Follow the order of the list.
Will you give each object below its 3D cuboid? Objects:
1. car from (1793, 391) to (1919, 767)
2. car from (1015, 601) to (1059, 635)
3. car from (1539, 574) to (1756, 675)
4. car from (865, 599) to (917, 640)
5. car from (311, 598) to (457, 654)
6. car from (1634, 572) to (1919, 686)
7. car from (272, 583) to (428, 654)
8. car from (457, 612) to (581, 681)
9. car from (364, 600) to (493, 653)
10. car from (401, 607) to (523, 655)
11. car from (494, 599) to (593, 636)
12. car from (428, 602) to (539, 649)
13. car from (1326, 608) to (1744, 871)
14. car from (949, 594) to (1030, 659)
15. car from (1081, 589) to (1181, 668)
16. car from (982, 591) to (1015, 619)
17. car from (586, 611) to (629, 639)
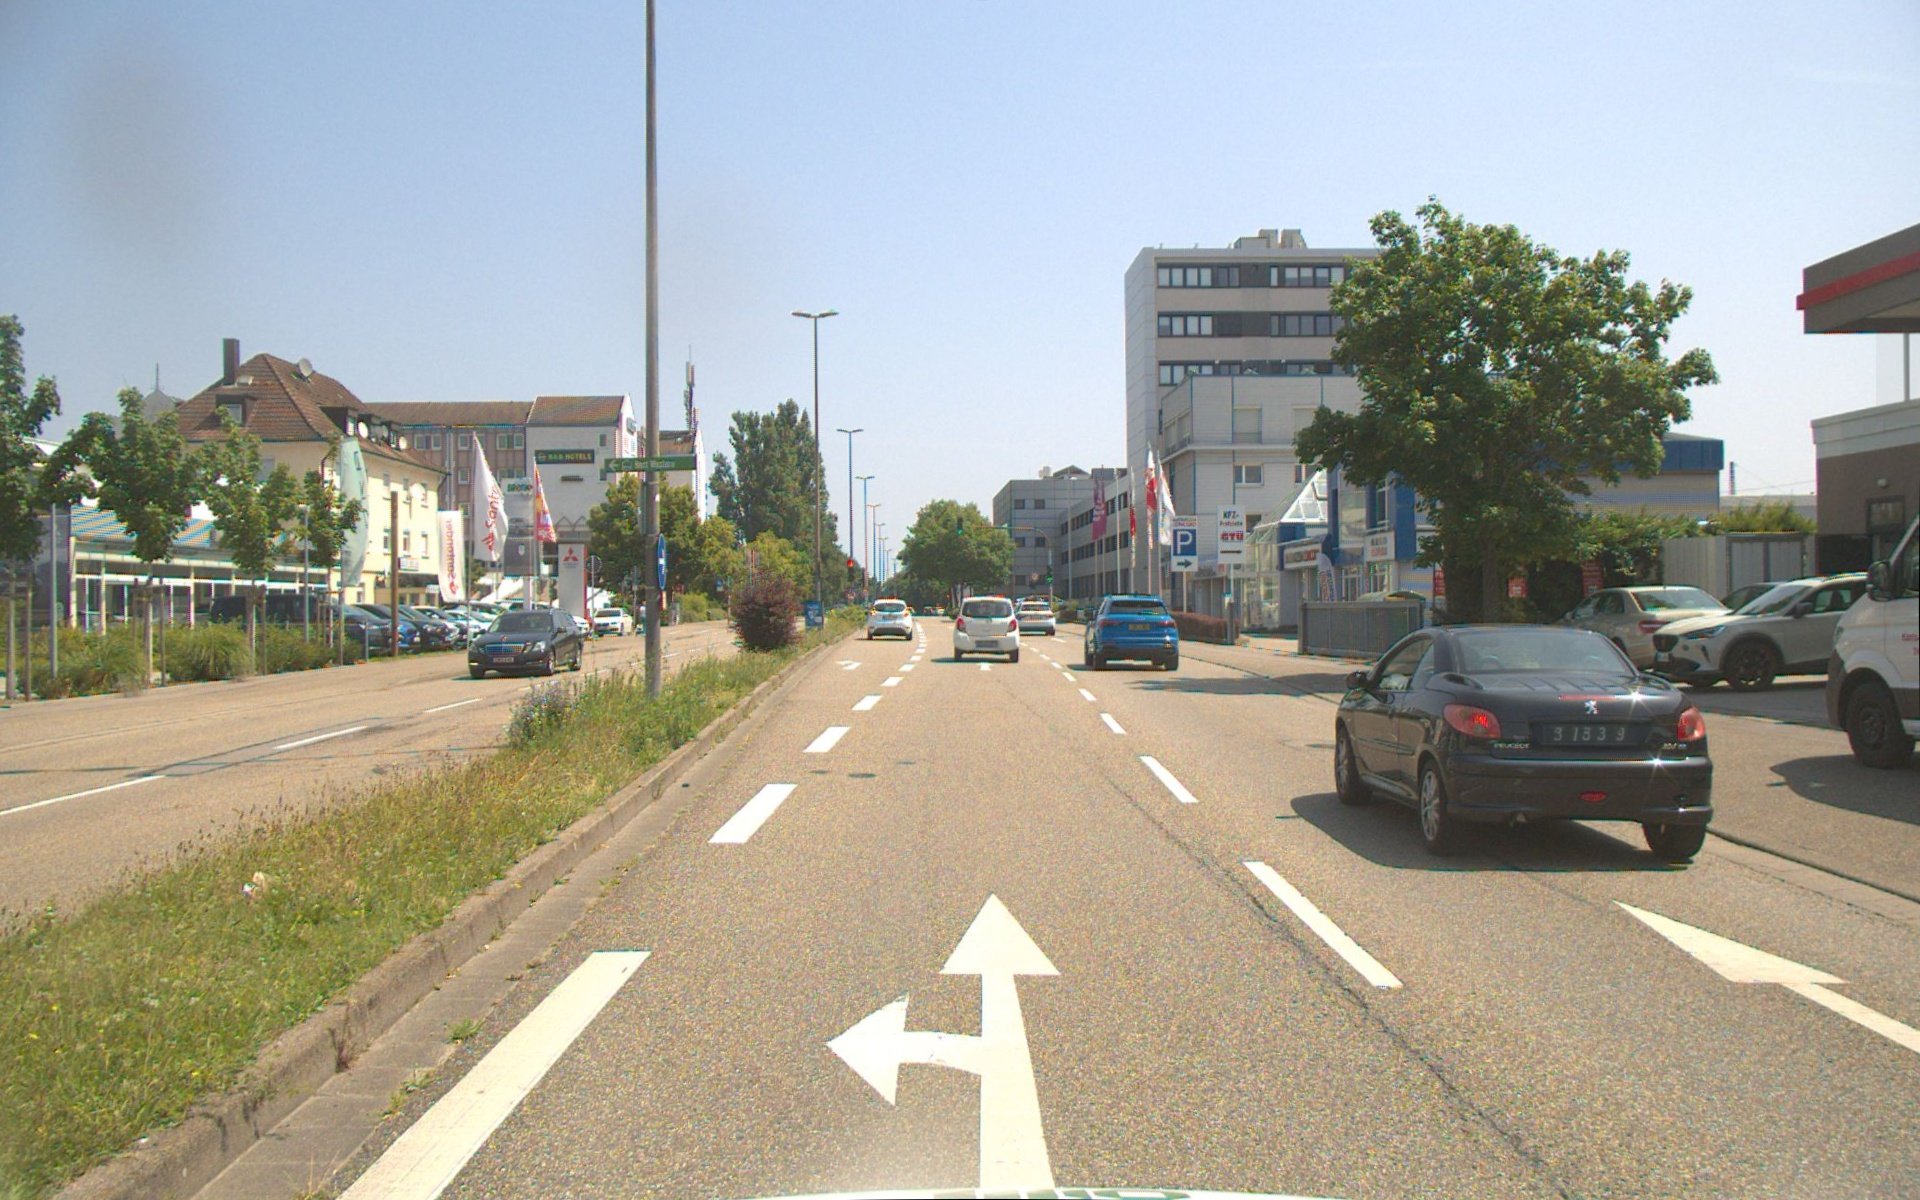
[{"bbox_3d":[8.480,-0.209,10.743,2.090,2.889,7.306,-3,0,-2],"label":"car"},{"bbox_3d":[3.284,0.745,70.947,1.633,1.424,3.792,0,0,-1],"label":"car"},{"bbox_3d":[11.223,0.447,27.309,1.714,1.538,3.996,0,-2,-4],"label":"car"},{"bbox_3d":[-2.536,0.758,61.527,1.793,1.475,3.999,0,-2,-1],"label":"car"},{"bbox_3d":[-18.040,0.845,51.947,3.909,1.694,1.886,0,-2,-5],"label":"car"},{"bbox_3d":[11.811,0.427,23.347,3.903,1.538,1.747,0,-2,5],"label":"car"},{"bbox_3d":[-18.134,0.568,49.329,3.909,2.049,1.998,0,-2,-5],"label":"car"},{"bbox_3d":[-10.125,1.027,38.265,1.859,1.412,4.065,-2,0,-2],"label":"car"},{"bbox_3d":[-18.559,0.946,57.896,3.909,1.759,1.935,0,-2,-5],"label":"car"},{"bbox_3d":[-18.272,1.171,60.861,3.909,1.714,1.998,0,-2,-5],"label":"car"},{"bbox_3d":[-18.694,0.804,74.346,3.905,1.579,1.865,0,-2,0],"label":"car"},{"bbox_3d":[-18.910,1.035,65.602,3.941,1.761,1.890,1,-3,-28],"label":"car"},{"bbox_3d":[3.640,0.792,11.134,1.567,1.450,3.661,0,0,0],"label":"car"},{"bbox_3d":[0.680,0.640,40.489,1.678,1.537,3.244,0,-1,-4],"label":"car"},{"bbox_3d":[3.737,0.584,36.814,1.873,1.625,4.396,1,1,1],"label":"car"},{"bbox_3d":[2.529,0.333,109.116,1.759,1.759,3.969,0,-2,-4],"label":"car"},{"bbox_3d":[-18.416,1.319,86.534,1.865,1.378,3.993,1,-2,-7],"label":"car"}]
